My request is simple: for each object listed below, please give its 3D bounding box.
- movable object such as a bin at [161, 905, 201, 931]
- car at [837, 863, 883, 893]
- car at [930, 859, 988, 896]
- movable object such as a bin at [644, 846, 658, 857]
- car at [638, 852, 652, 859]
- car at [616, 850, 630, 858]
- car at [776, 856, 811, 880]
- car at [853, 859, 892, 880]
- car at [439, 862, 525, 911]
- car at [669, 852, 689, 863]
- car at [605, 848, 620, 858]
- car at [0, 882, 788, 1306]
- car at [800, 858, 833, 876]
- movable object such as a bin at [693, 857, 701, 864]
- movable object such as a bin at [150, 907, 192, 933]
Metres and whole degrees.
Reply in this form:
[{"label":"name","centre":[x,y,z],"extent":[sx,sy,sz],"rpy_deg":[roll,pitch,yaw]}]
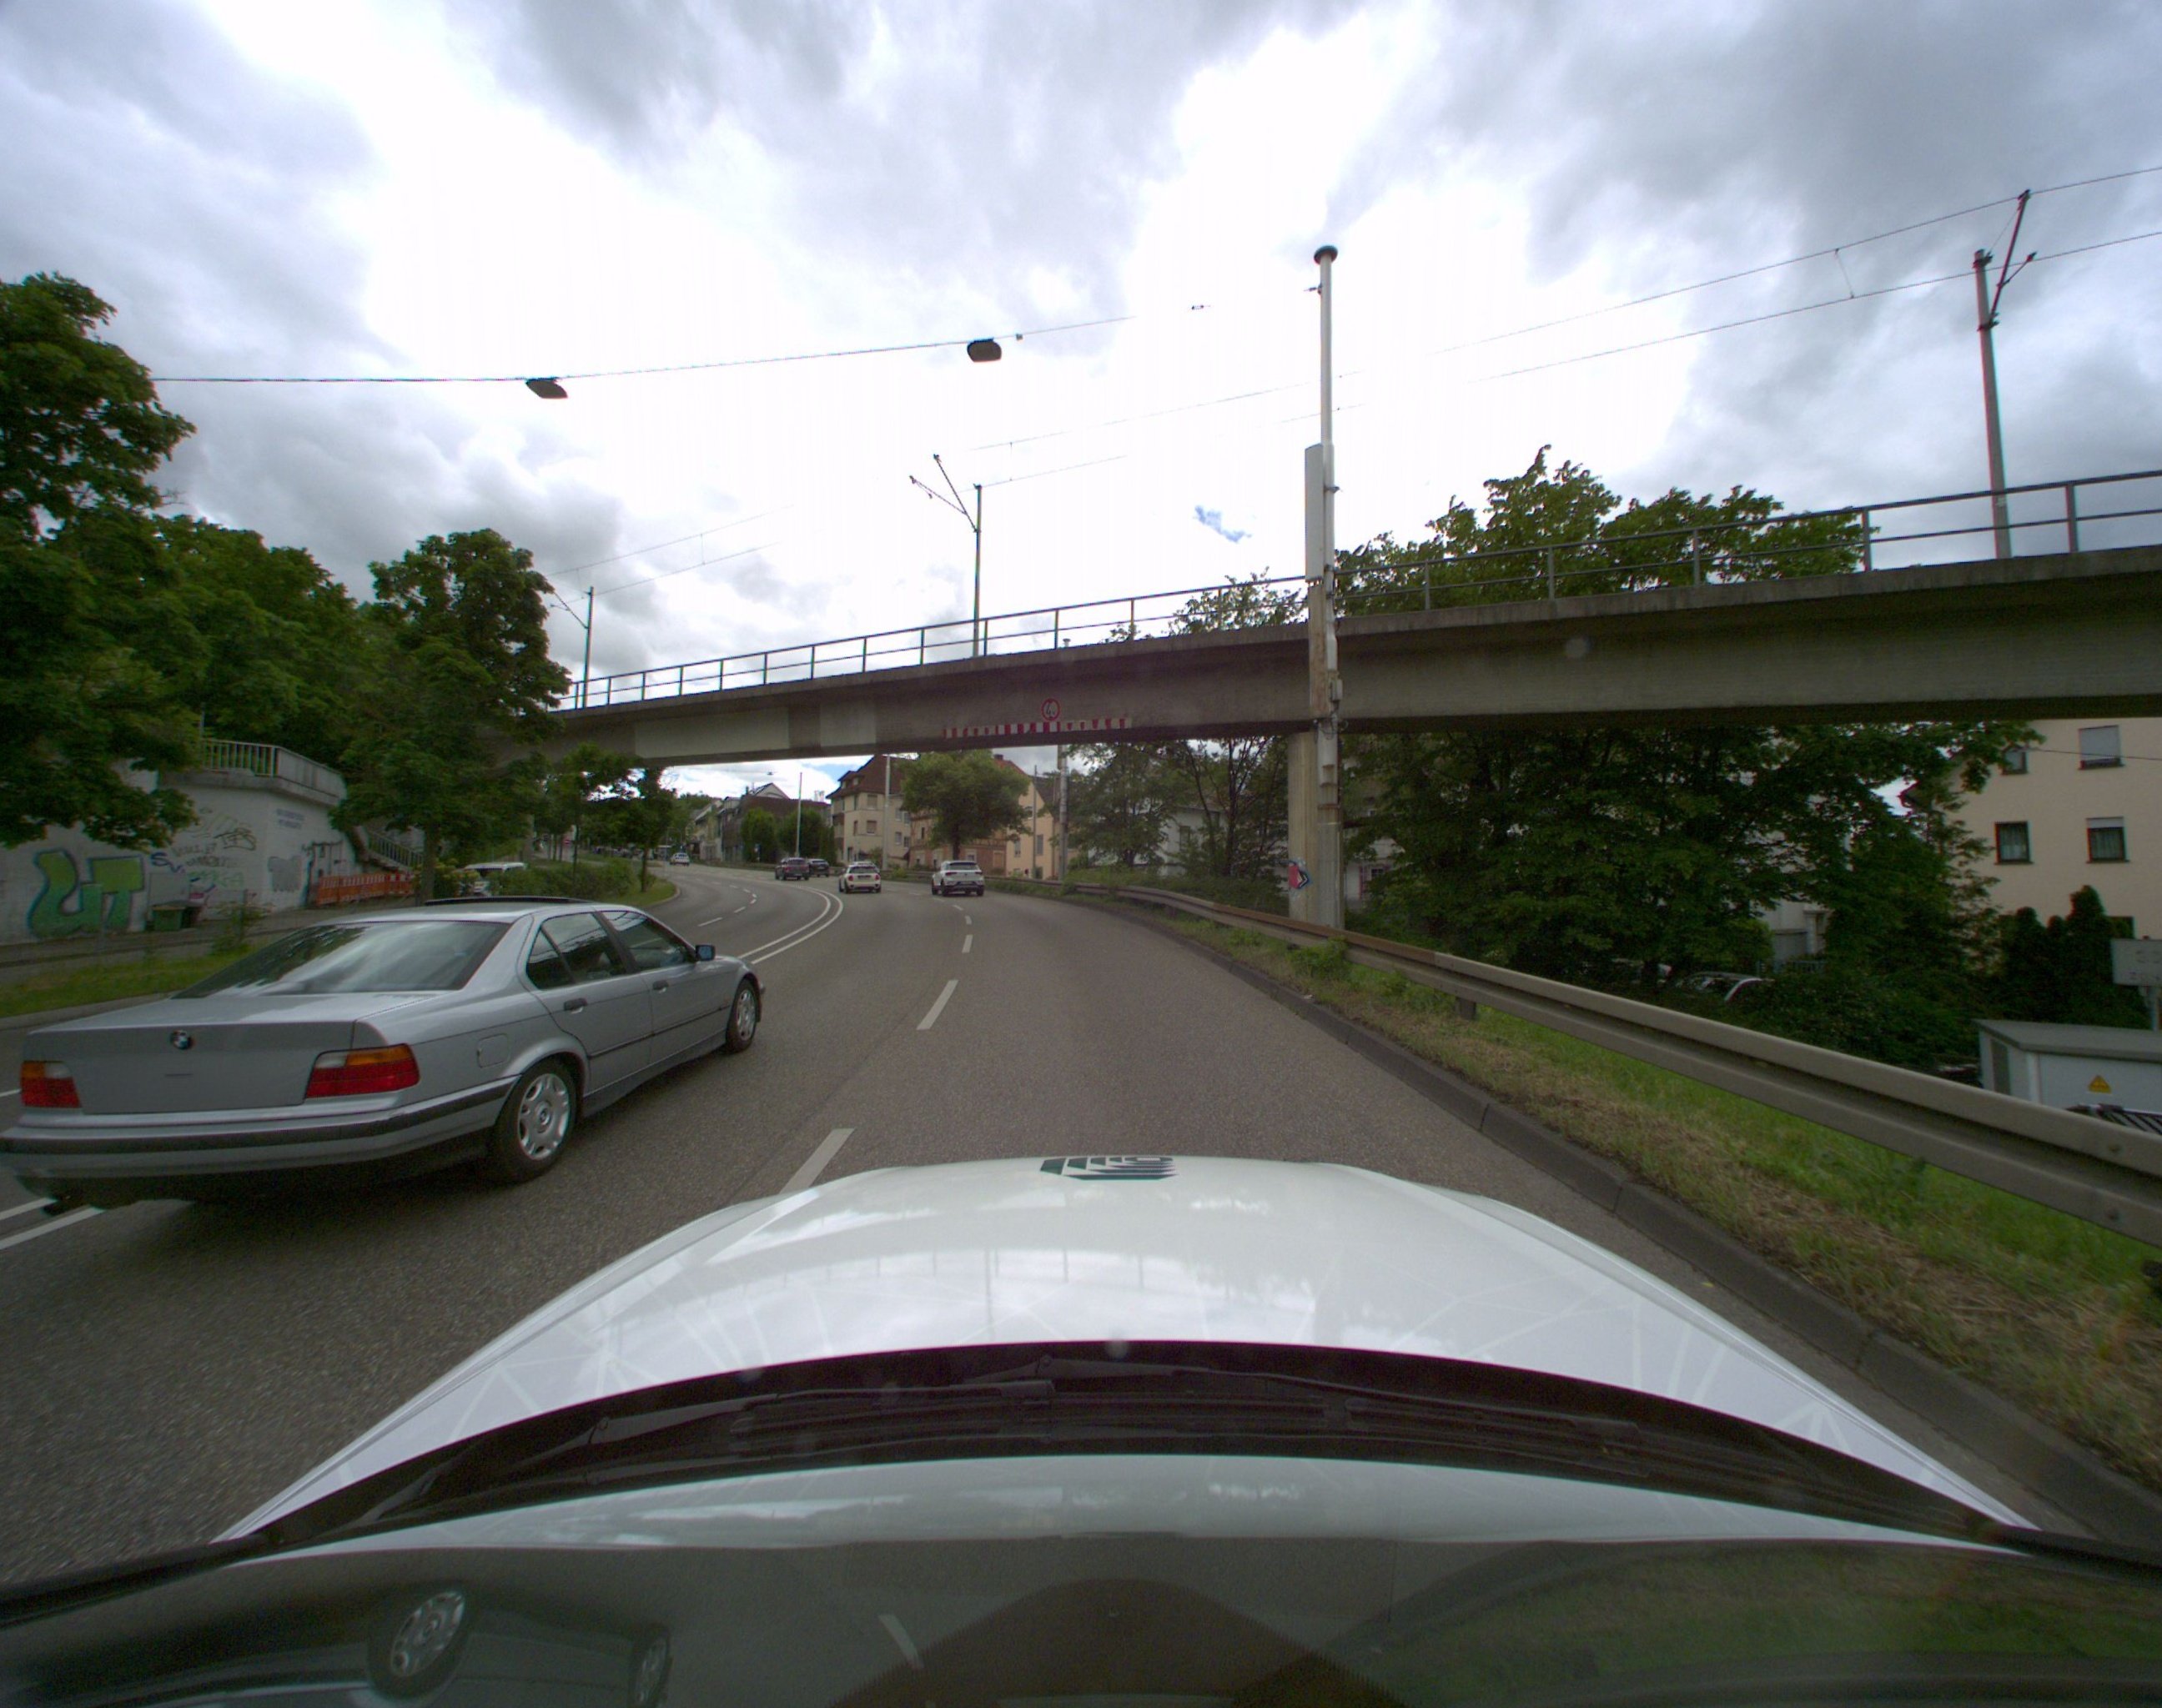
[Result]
[{"label":"movable object such as a bin","centre":[-24.293,1.733,21.996],"extent":[0.561,0.640,0.575],"rpy_deg":[4,-1,-32]},{"label":"car","centre":[-11.183,1.168,41.067],"extent":[1.730,1.376,3.429],"rpy_deg":[0,0,-24]},{"label":"car","centre":[-5.422,0.984,35.952],"extent":[1.804,1.519,3.431],"rpy_deg":[0,0,-22]},{"label":"movable object such as a bin","centre":[-81.789,-0.438,154.794],"extent":[1.908,1.870,1.510],"rpy_deg":[5,-2,-45]},{"label":"car","centre":[-79.078,0.255,147.798],"extent":[1.736,1.376,3.418],"rpy_deg":[0,0,-37]},{"label":"car","centre":[-82.241,0.067,146.191],"extent":[1.736,1.376,3.418],"rpy_deg":[0,0,-37]},{"label":"car","centre":[-21.173,1.000,59.935],"extent":[1.734,1.640,3.421],"rpy_deg":[0,0,-33]},{"label":"car","centre":[-14.589,1.080,56.861],"extent":[1.734,1.376,3.422],"rpy_deg":[0,0,-31]},{"label":"car","centre":[-24.741,1.270,33.831],"extent":[1.774,1.785,4.432],"rpy_deg":[-2,1,-22]},{"label":"car","centre":[-53.413,0.475,108.223],"extent":[1.736,1.376,3.418],"rpy_deg":[0,0,-37]},{"label":"car","centre":[-80.294,-0.131,139.573],"extent":[1.737,1.583,3.417],"rpy_deg":[0,0,-39]},{"label":"car","centre":[-3.505,0.962,5.333],"extent":[1.630,1.383,4.615],"rpy_deg":[-2,0,-2]},{"label":"car","centre":[-22.200,1.071,68.291],"extent":[1.735,1.376,3.420],"rpy_deg":[0,0,-33]},{"label":"movable object such as a bin","centre":[-74.025,1.269,156.865],"extent":[1.204,1.408,0.703],"rpy_deg":[5,-2,-36]},{"label":"movable object such as a bin","centre":[-23.921,1.733,21.411],"extent":[0.561,0.640,0.575],"rpy_deg":[4,-1,-32]}]
